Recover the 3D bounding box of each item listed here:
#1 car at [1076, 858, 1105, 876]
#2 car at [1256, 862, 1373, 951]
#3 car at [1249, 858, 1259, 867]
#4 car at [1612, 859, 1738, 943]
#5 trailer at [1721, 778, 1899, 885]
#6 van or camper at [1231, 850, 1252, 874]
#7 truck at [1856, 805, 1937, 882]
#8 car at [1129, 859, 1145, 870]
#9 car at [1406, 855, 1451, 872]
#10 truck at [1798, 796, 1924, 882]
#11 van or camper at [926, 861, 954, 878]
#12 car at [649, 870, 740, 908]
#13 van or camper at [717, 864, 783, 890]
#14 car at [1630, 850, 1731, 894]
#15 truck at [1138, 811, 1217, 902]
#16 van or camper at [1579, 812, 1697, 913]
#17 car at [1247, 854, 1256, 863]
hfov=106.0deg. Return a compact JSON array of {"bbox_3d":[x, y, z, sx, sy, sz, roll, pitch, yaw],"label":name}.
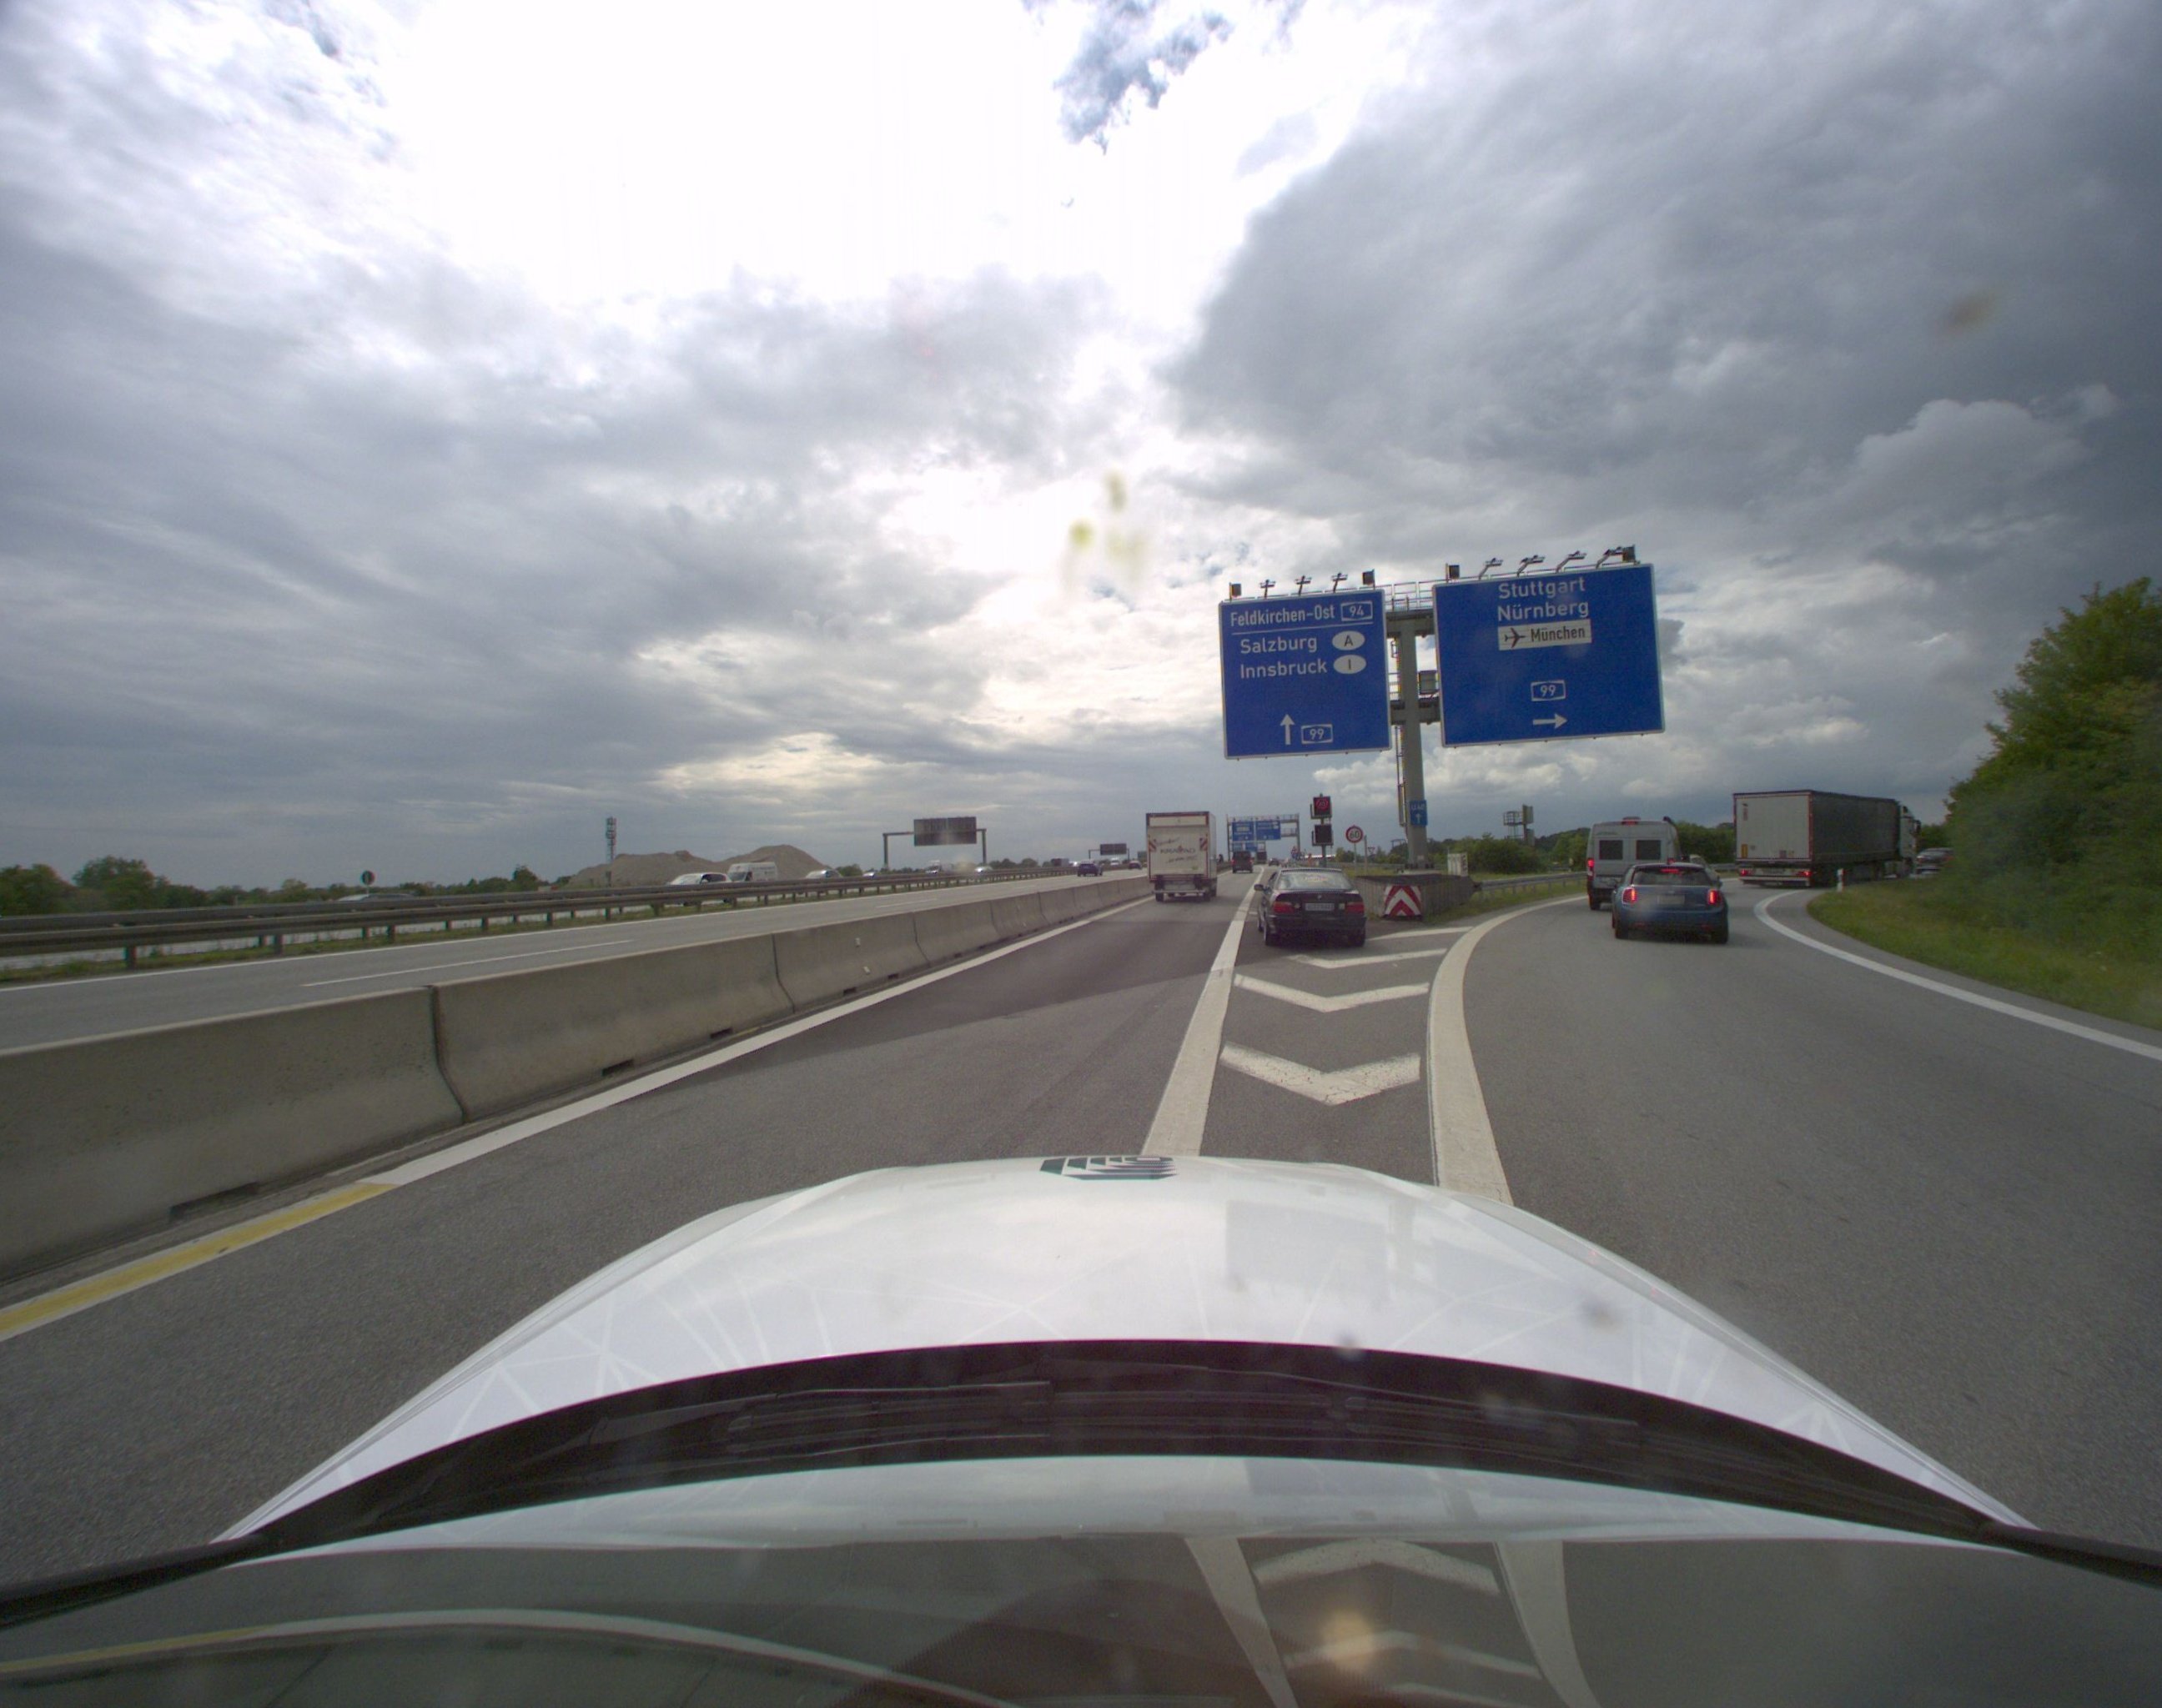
[{"bbox_3d":[0.962,1.271,78.947,1.981,1.662,4.397,-1,-1,11],"label":"car"},{"bbox_3d":[4.162,0.868,15.057,1.770,1.378,4.150,-1,-1,12],"label":"car"},{"bbox_3d":[30.533,1.451,143.784,1.574,1.484,3.546,-1,-1,12],"label":"car"},{"bbox_3d":[11.437,0.825,15.888,1.712,1.419,3.689,-1,-1,32],"label":"car"},{"bbox_3d":[33.611,-0.904,37.249,13.088,4.193,3.305,0,-1,-36],"label":"trailer"},{"bbox_3d":[16.604,0.825,84.182,1.986,2.371,6.145,-1,-1,12],"label":"van or camper"},{"bbox_3d":[52.966,-0.653,53.121,3.241,4.615,9.046,-2,0,43],"label":"truck"},{"bbox_3d":[8.714,1.639,126.626,1.982,1.541,4.010,-1,-1,9],"label":"car"},{"bbox_3d":[38.472,1.036,90.283,2.006,1.772,4.205,-1,-1,-31],"label":"car"},{"bbox_3d":[40.246,-0.719,41.978,6.817,4.095,3.334,0,-1,-35],"label":"truck"},{"bbox_3d":[-20.053,2.177,115.922,2.174,2.172,5.824,-1,-1,9],"label":"van or camper"},{"bbox_3d":[-16.587,1.464,35.161,1.885,1.423,4.002,-1,0,2],"label":"car"},{"bbox_3d":[-27.694,1.874,68.413,2.222,2.014,6.292,-1,-1,8],"label":"van or camper"},{"bbox_3d":[22.483,0.653,30.469,4.814,1.501,2.186,0,-1,-44],"label":"car"},{"bbox_3d":[3.799,0.116,30.953,2.388,3.090,6.390,-1,-1,12],"label":"truck"},{"bbox_3d":[16.463,0.214,23.896,2.271,2.568,6.199,-2,-1,39],"label":"van or camper"},{"bbox_3d":[40.005,1.117,190.797,1.981,2.014,4.011,-1,-1,10],"label":"car"}]
